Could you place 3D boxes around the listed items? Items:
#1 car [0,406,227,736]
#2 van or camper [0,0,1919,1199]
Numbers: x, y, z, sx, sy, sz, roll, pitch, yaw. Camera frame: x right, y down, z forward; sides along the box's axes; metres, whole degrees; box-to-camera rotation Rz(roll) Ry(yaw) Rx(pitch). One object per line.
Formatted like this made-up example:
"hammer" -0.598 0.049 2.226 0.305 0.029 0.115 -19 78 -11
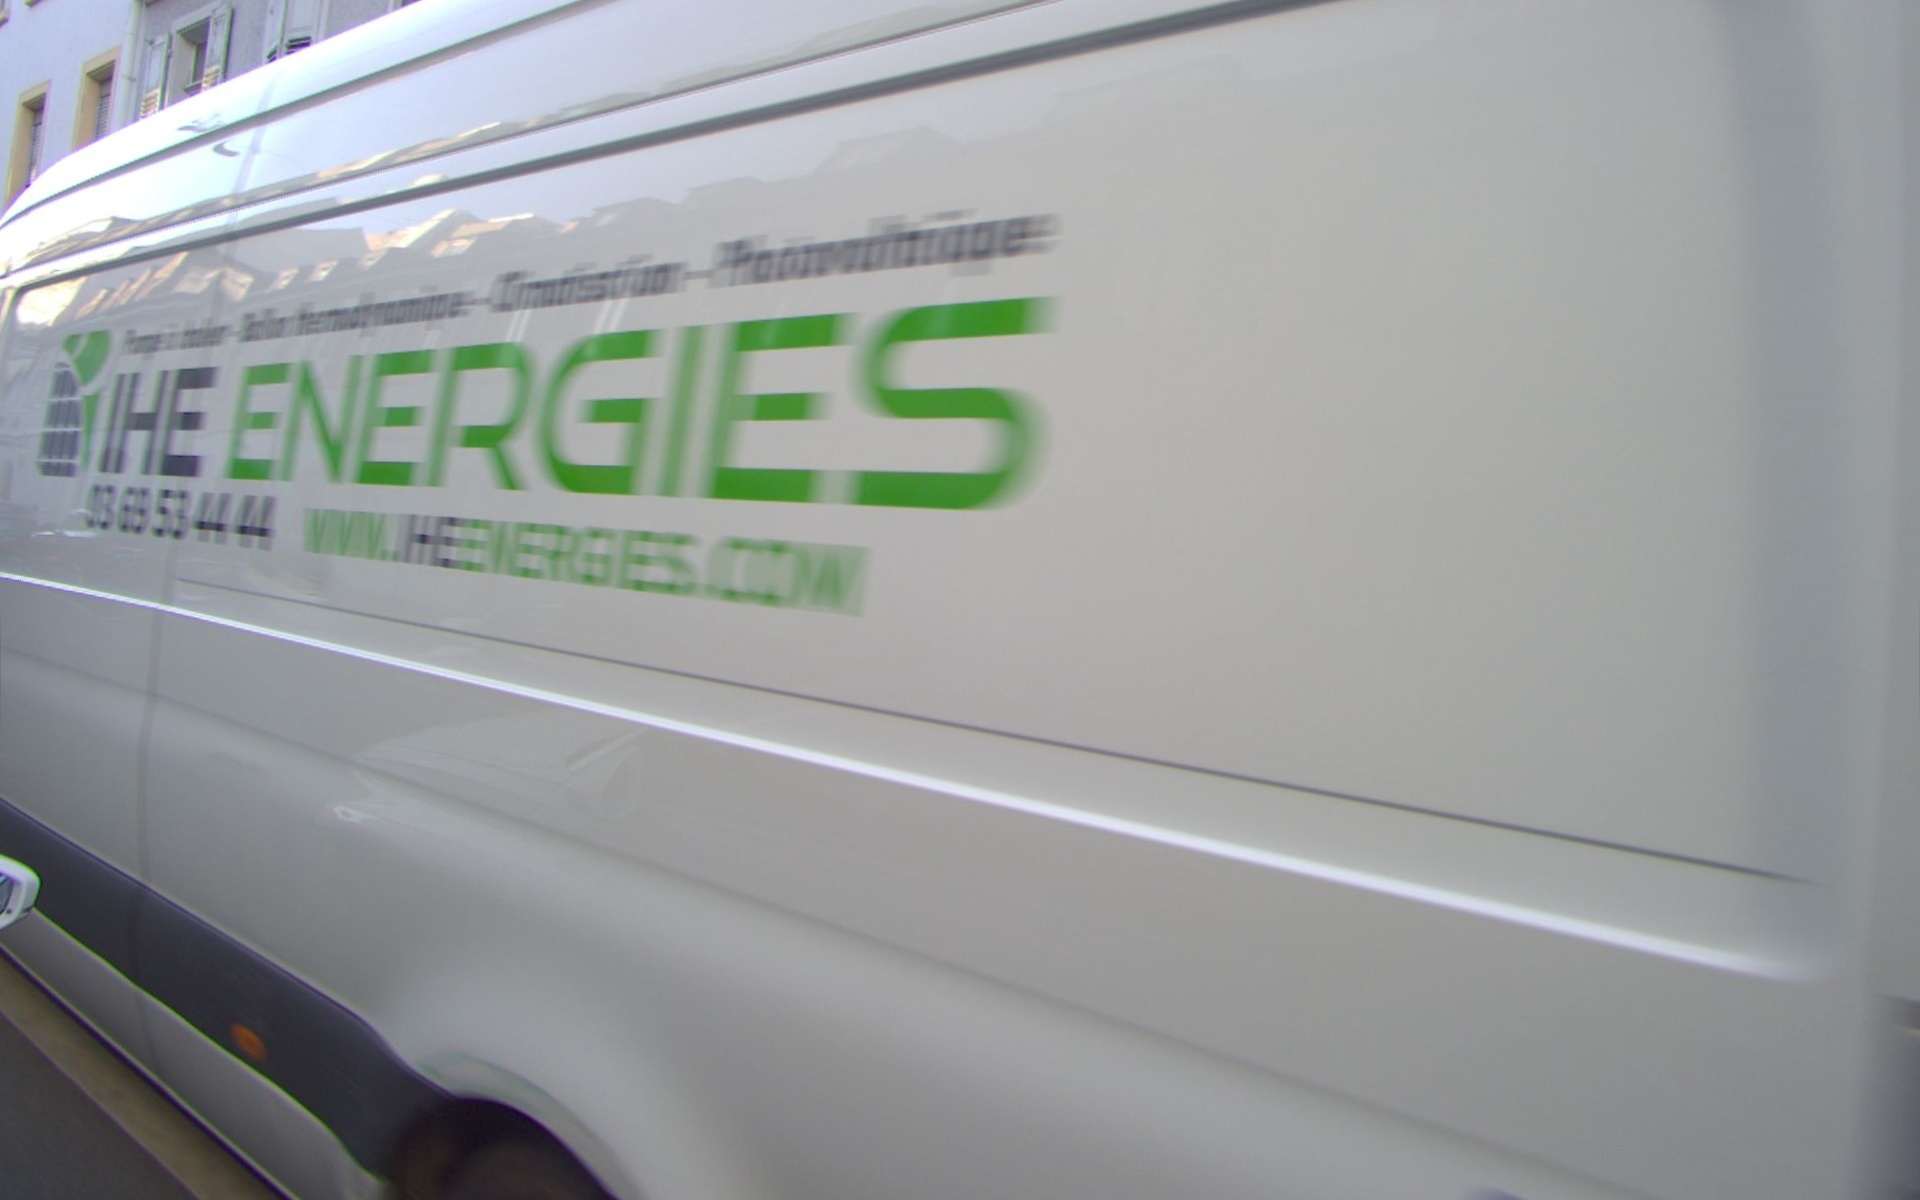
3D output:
"car" -7.712 -0.402 7.341 5.229 1.920 1.941 6 2 32
"van or camper" -1.597 0.013 3.007 6.947 2.669 2.053 7 0 33
